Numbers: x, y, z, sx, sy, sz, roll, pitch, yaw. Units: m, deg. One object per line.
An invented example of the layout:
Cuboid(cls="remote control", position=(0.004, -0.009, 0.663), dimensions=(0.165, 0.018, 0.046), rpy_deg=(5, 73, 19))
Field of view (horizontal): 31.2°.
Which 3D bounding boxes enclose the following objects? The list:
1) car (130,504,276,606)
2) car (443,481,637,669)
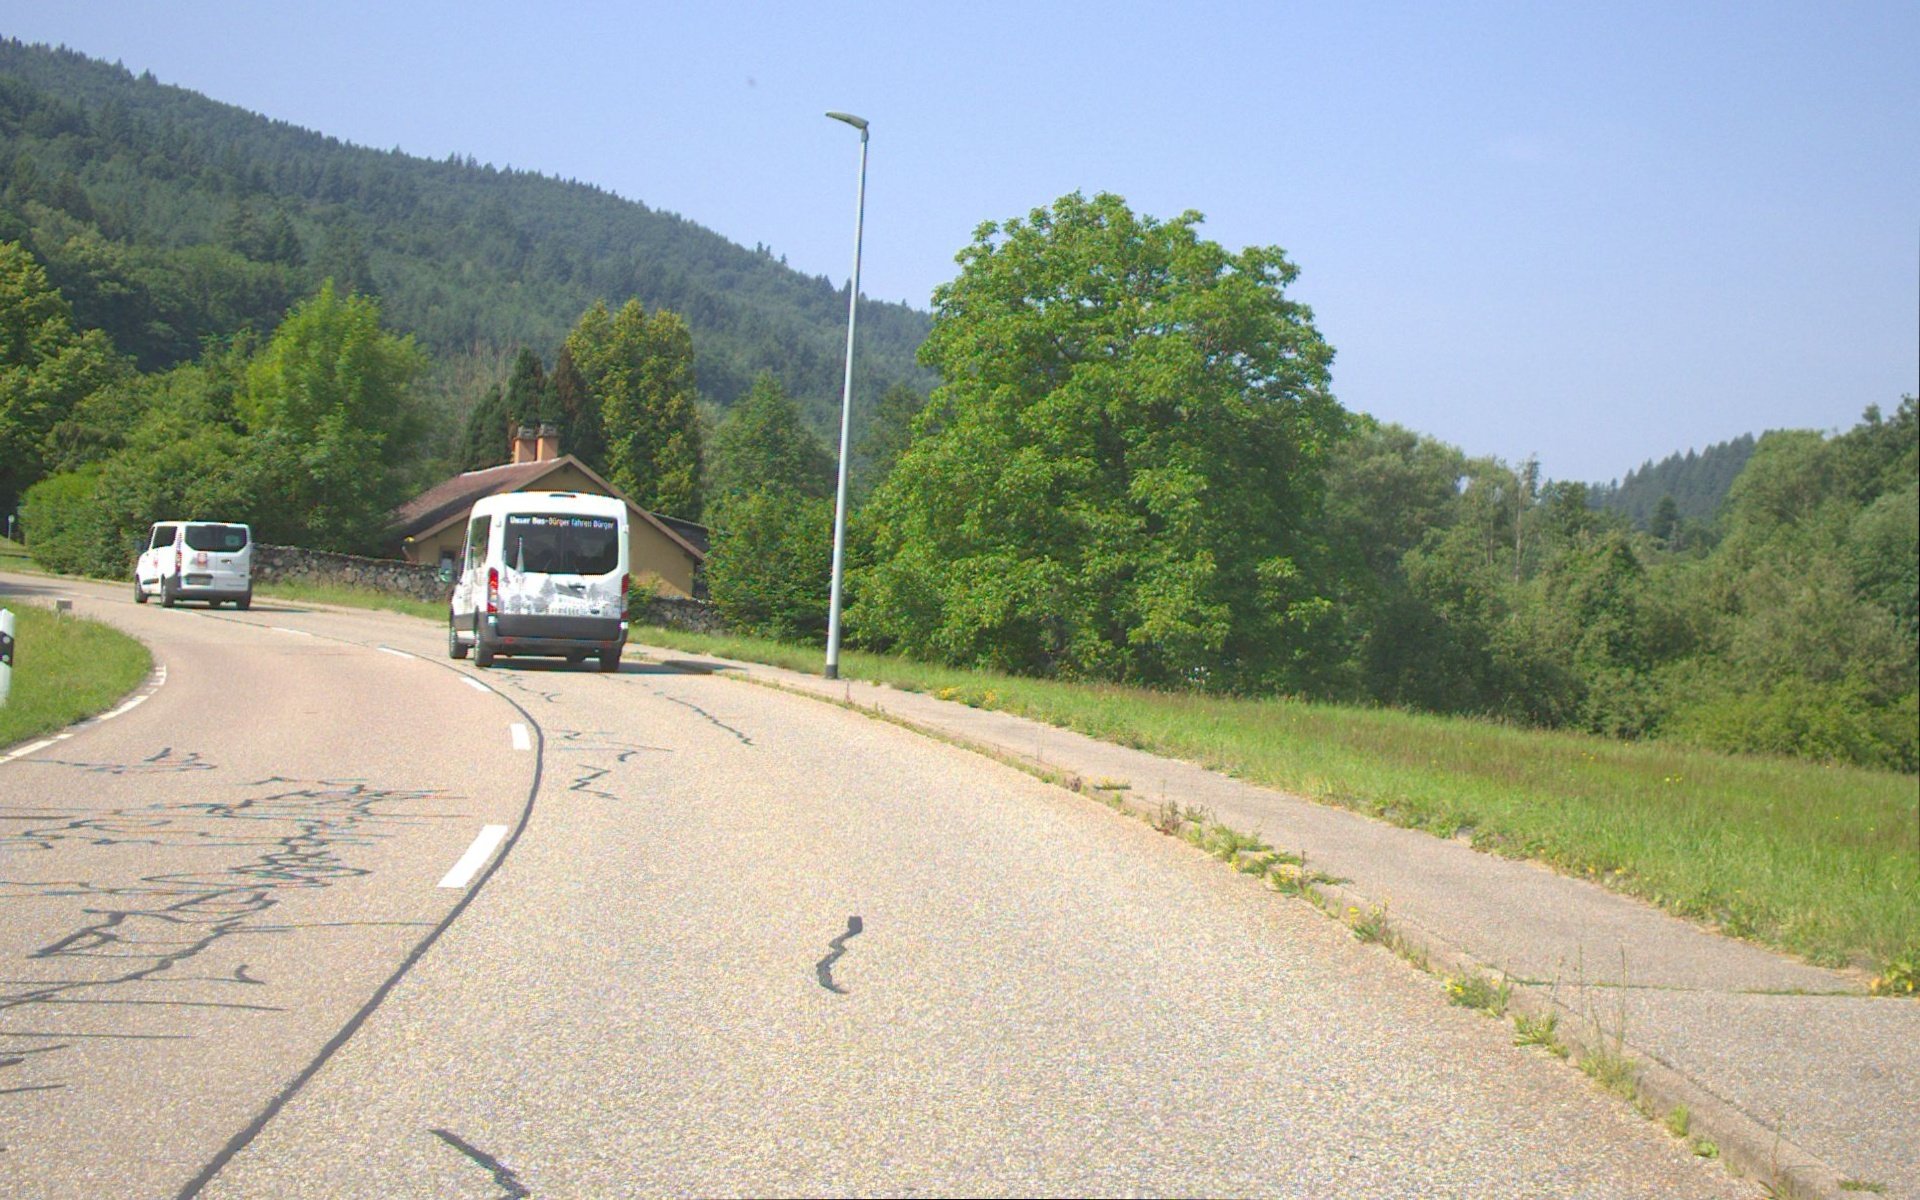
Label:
Cuboid(cls="car", position=(-17.575, -1.031, 79.681), dimensions=(2.222, 2.279, 4.985), rpy_deg=(-1, 1, -25))
Cuboid(cls="car", position=(-6.076, -0.370, 49.241), dimensions=(2.222, 2.517, 4.986), rpy_deg=(-1, 1, -13))
